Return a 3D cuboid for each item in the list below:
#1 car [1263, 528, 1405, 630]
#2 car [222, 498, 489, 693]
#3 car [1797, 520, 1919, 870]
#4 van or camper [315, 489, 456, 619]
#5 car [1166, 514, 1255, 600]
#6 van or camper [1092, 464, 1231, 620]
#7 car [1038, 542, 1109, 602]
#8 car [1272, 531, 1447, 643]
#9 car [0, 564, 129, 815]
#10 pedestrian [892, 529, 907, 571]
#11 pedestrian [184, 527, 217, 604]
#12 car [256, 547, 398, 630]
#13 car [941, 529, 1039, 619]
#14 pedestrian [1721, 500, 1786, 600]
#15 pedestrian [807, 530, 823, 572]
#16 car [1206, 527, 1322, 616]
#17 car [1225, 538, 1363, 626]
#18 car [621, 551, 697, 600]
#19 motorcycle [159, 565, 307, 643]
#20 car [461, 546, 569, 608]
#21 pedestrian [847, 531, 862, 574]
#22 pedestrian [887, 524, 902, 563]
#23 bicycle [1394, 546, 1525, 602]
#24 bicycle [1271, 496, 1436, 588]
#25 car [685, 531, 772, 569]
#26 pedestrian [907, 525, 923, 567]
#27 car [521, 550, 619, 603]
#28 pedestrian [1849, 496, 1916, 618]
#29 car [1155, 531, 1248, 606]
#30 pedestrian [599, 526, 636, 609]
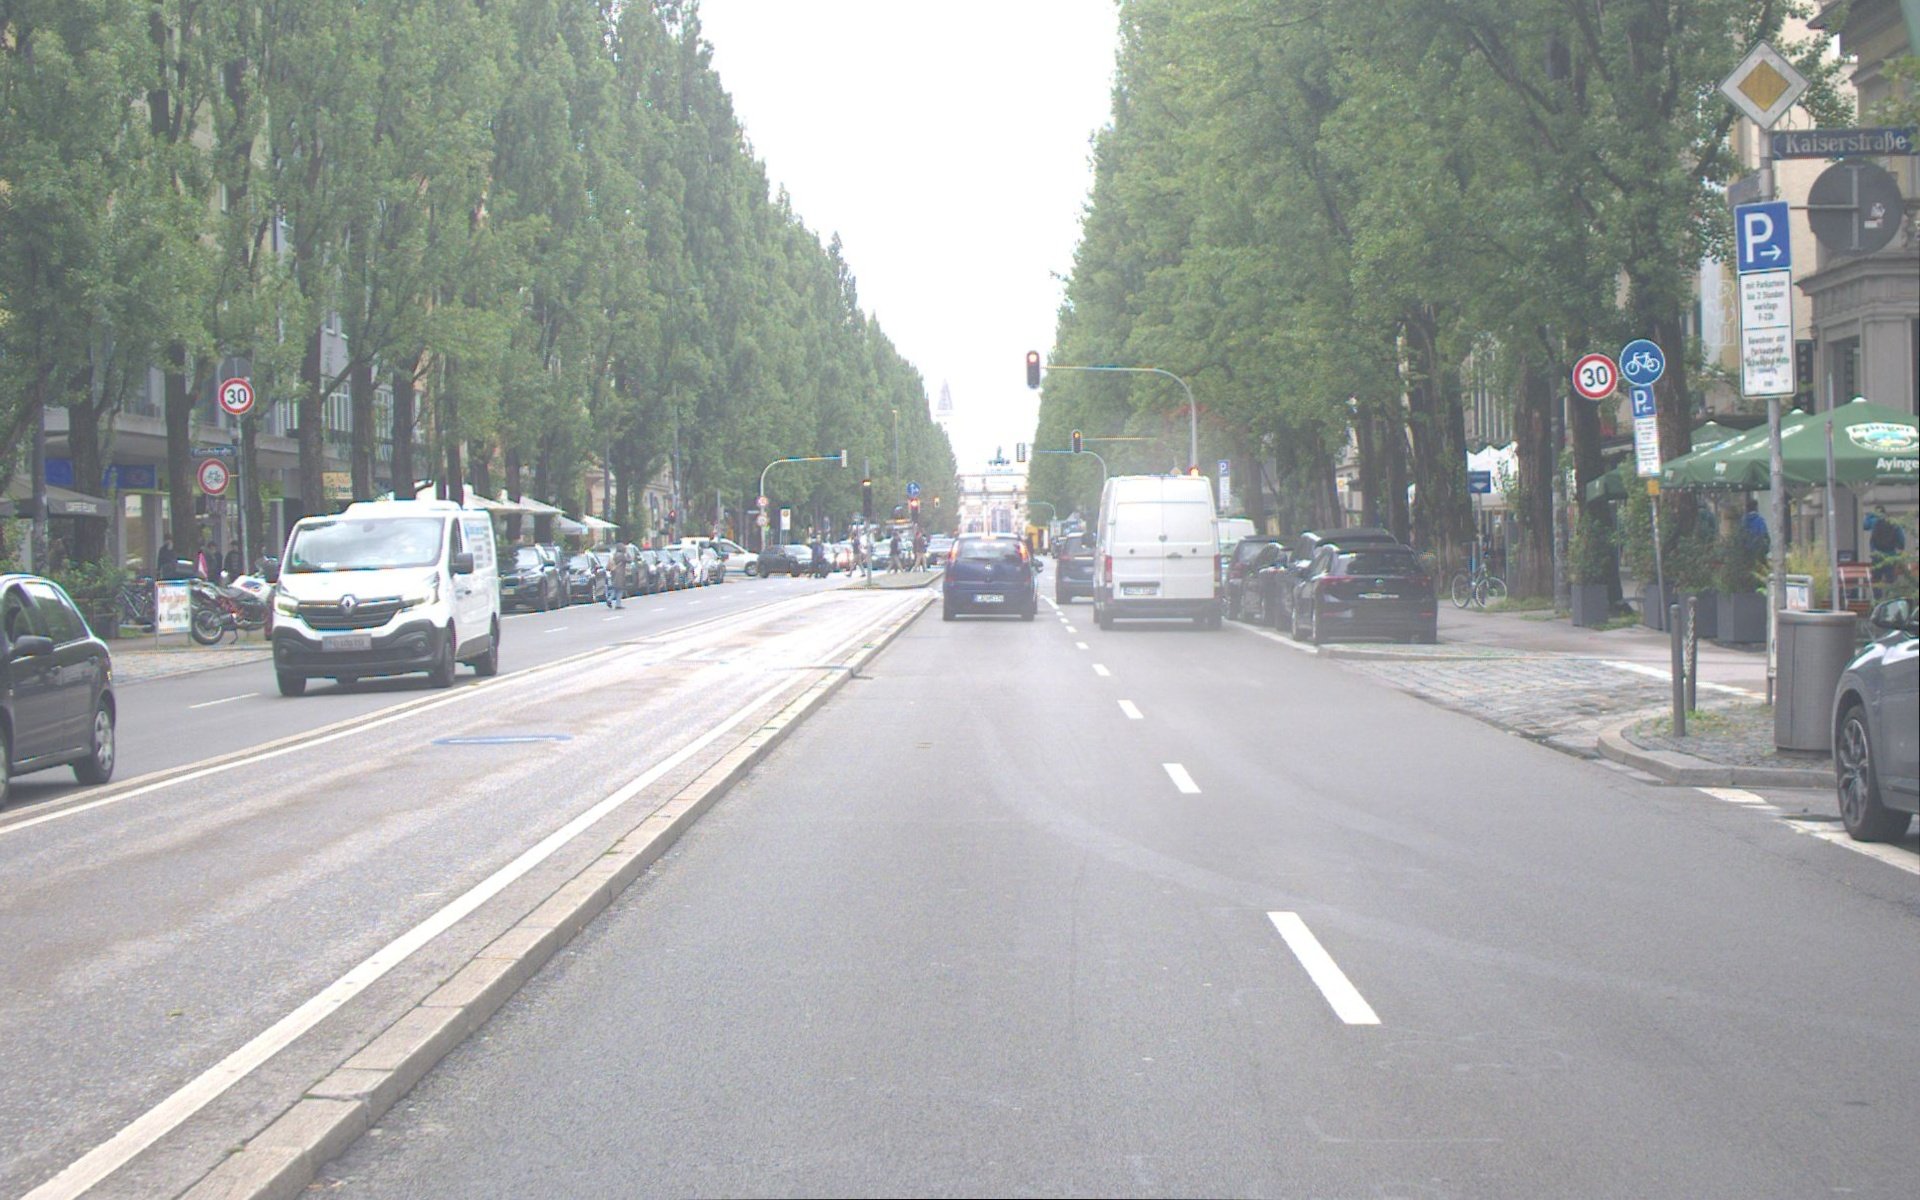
[{"bbox_3d":[5.868,-0.354,54.290,1.785,1.519,3.941,-1,1,0],"label":"car"},{"bbox_3d":[-6.645,-0.063,38.346,1.993,1.927,4.918,-3,0,0],"label":"car"},{"bbox_3d":[5.105,0.414,15.334,1.623,1.560,4.372,-1,1,0],"label":"car"},{"bbox_3d":[-11.284,-0.925,67.770,1.993,2.450,4.251,-1,1,0],"label":"van or camper"},{"bbox_3d":[5.885,-0.995,81.057,1.804,1.985,4.000,0,0,0],"label":"car"},{"bbox_3d":[3.324,-0.922,57.403,2.034,2.467,4.000,-1,0,0],"label":"van or camper"},{"bbox_3d":[2.581,-0.653,78.638,1.504,1.308,3.283,-1,1,0],"label":"car"},{"bbox_3d":[5.618,-0.217,48.757,1.944,1.462,4.000,-2,1,-1],"label":"car"},{"bbox_3d":[-6.385,0.528,20.975,1.711,1.409,3.723,-2,1,0],"label":"car"},{"bbox_3d":[-2.480,-2.046,141.198,0.553,1.710,0.493,-2,1,1],"label":"pedestrian"},{"bbox_3d":[-18.429,-0.843,83.402,0.582,1.850,0.675,-1,1,4],"label":"pedestrian"},{"bbox_3d":[-11.277,-0.201,61.437,1.795,1.424,4.000,0,0,0],"label":"car"},{"bbox_3d":[0.568,-0.471,63.650,1.759,1.614,3.747,0,0,1],"label":"car"},{"bbox_3d":[14.260,-0.905,61.772,0.814,1.749,0.931,-1,1,33],"label":"pedestrian"},{"bbox_3d":[-5.961,-2.028,141.088,0.553,1.710,0.493,-2,1,1],"label":"pedestrian"},{"bbox_3d":[5.606,-0.513,63.705,1.804,1.590,4.000,0,0,0],"label":"car"},{"bbox_3d":[5.703,-0.313,59.146,1.993,1.459,4.000,0,0,0],"label":"car"},{"bbox_3d":[-9.793,-0.810,112.064,1.931,1.481,4.110,-2,1,2],"label":"car"},{"bbox_3d":[-11.536,0.048,54.726,1.238,1.136,3.716,-1,1,5],"label":"motorcycle"},{"bbox_3d":[-10.834,-0.551,83.945,1.993,1.481,4.000,0,0,2],"label":"car"},{"bbox_3d":[-4.319,-1.943,140.492,0.553,1.710,0.493,-2,1,1],"label":"pedestrian"},{"bbox_3d":[-3.429,-2.983,181.081,0.770,2.007,0.897,0,0,0],"label":"pedestrian"},{"bbox_3d":[9.319,-0.486,64.258,0.759,1.020,2.734,-2,1,-34],"label":"bicycle"},{"bbox_3d":[8.671,-1.266,75.659,3.550,2.007,1.296,0,0,10],"label":"bicycle"},{"bbox_3d":[-10.917,-2.365,162.136,3.986,1.739,2.000,0,0,-7],"label":"car"},{"bbox_3d":[-1.862,-2.241,142.280,0.553,1.710,0.493,-2,1,1],"label":"pedestrian"},{"bbox_3d":[-10.663,-0.632,94.175,1.994,1.415,3.999,0,0,4],"label":"car"},{"bbox_3d":[14.146,-0.664,52.725,0.760,1.847,0.740,-2,1,-2],"label":"pedestrian"},{"bbox_3d":[5.242,-0.668,75.028,1.762,1.590,4.000,0,0,0],"label":"car"},{"bbox_3d":[-8.326,-0.790,83.521,0.809,2.007,0.720,-1,1,-9],"label":"pedestrian"}]
